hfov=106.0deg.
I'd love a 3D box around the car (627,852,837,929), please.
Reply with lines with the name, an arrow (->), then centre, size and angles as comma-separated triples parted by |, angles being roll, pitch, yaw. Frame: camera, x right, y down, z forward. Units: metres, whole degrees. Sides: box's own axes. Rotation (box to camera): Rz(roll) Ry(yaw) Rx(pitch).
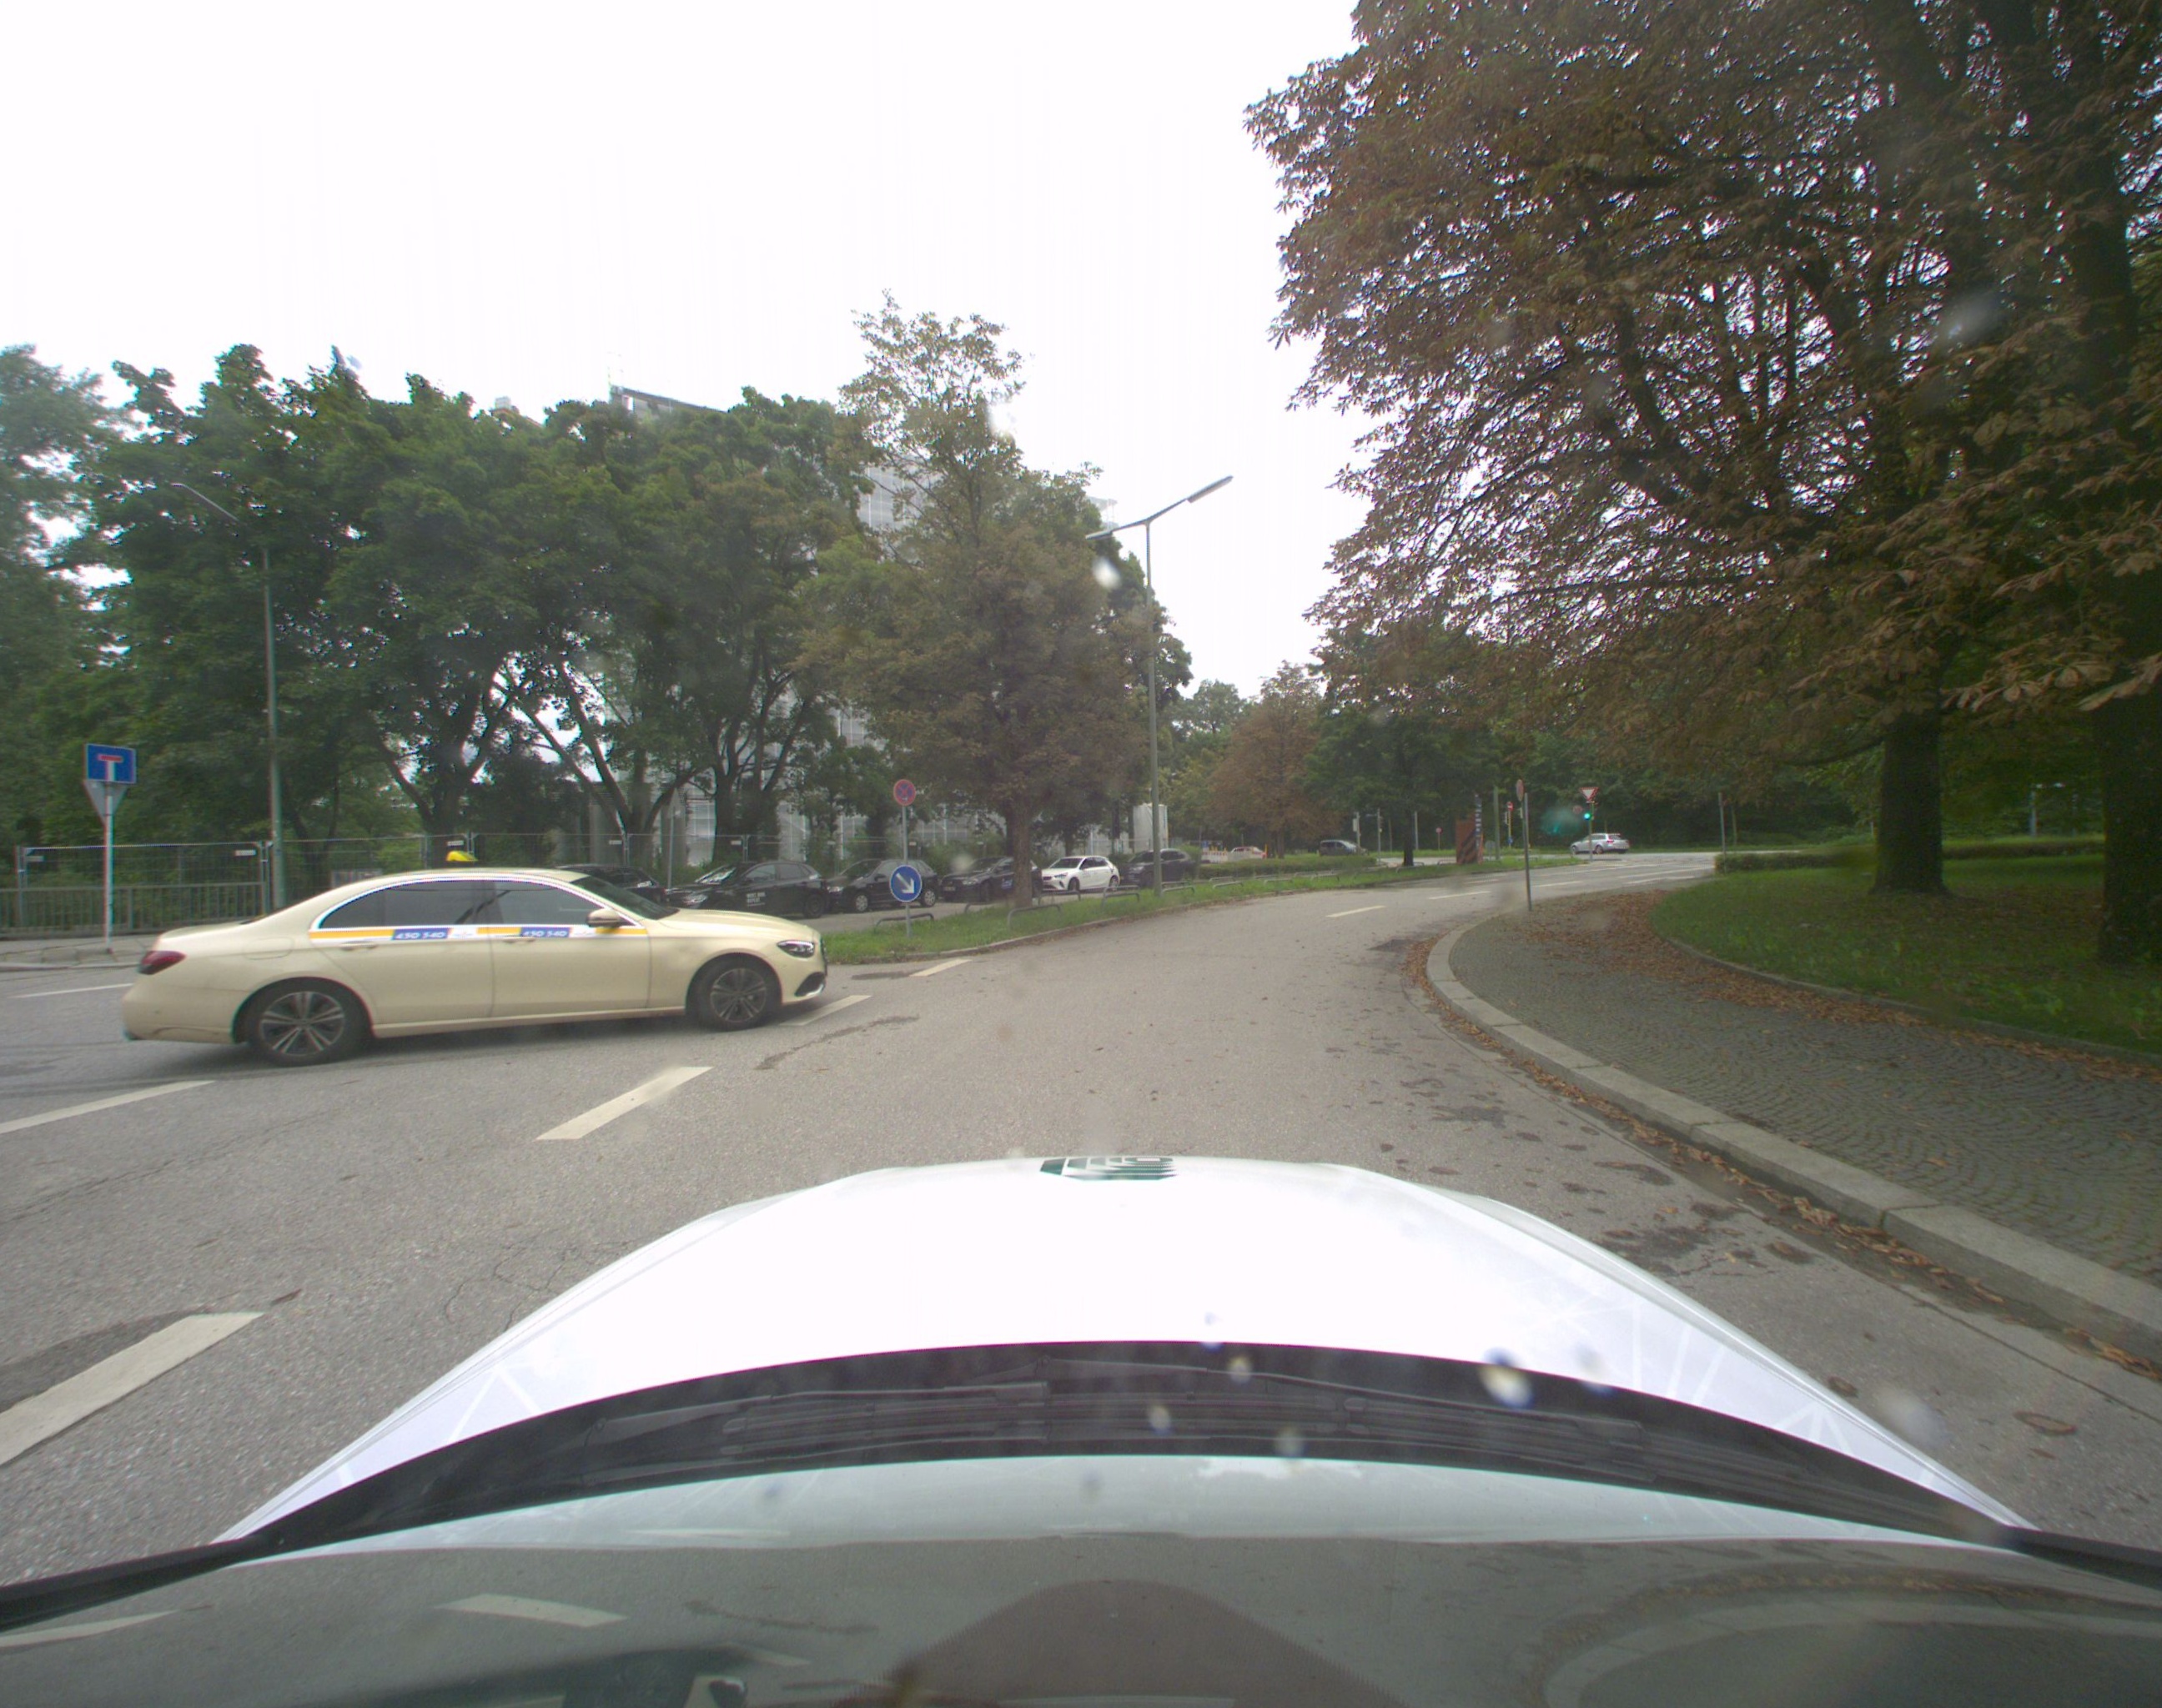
car -> -7.984, 0.777, 18.962 | 1.974, 1.541, 4.026 | -2, 0, 33

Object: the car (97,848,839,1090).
car -> -4.797, 0.789, 7.354 | 4.856, 1.545, 1.880 | -1, 0, -22

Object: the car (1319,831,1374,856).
car -> 22.649, -0.875, 69.522 | 2.010, 2.013, 3.955 | -1, 0, -38

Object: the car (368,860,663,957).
car -> -10.326, 0.880, 15.173 | 1.974, 1.432, 4.068 | 0, 1, 34

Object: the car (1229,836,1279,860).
car -> 15.788, -0.536, 74.583 | 2.010, 2.013, 4.110 | -1, 0, -38

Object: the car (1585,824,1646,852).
car -> 36.498, -1.076, 55.752 | 1.982, 1.750, 4.136 | -2, 0, 9

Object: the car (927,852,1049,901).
car -> -2.996, 0.723, 27.024 | 1.816, 1.461, 4.031 | -2, -1, 33

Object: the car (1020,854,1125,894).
car -> -0.238, 0.737, 31.003 | 1.778, 1.383, 4.245 | -2, -1, 36

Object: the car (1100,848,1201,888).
car -> 2.989, 0.612, 34.512 | 1.868, 1.606, 4.422 | -2, -2, 44

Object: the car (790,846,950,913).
car -> -5.824, 0.665, 22.869 | 1.974, 1.706, 4.026 | -2, -1, 33
